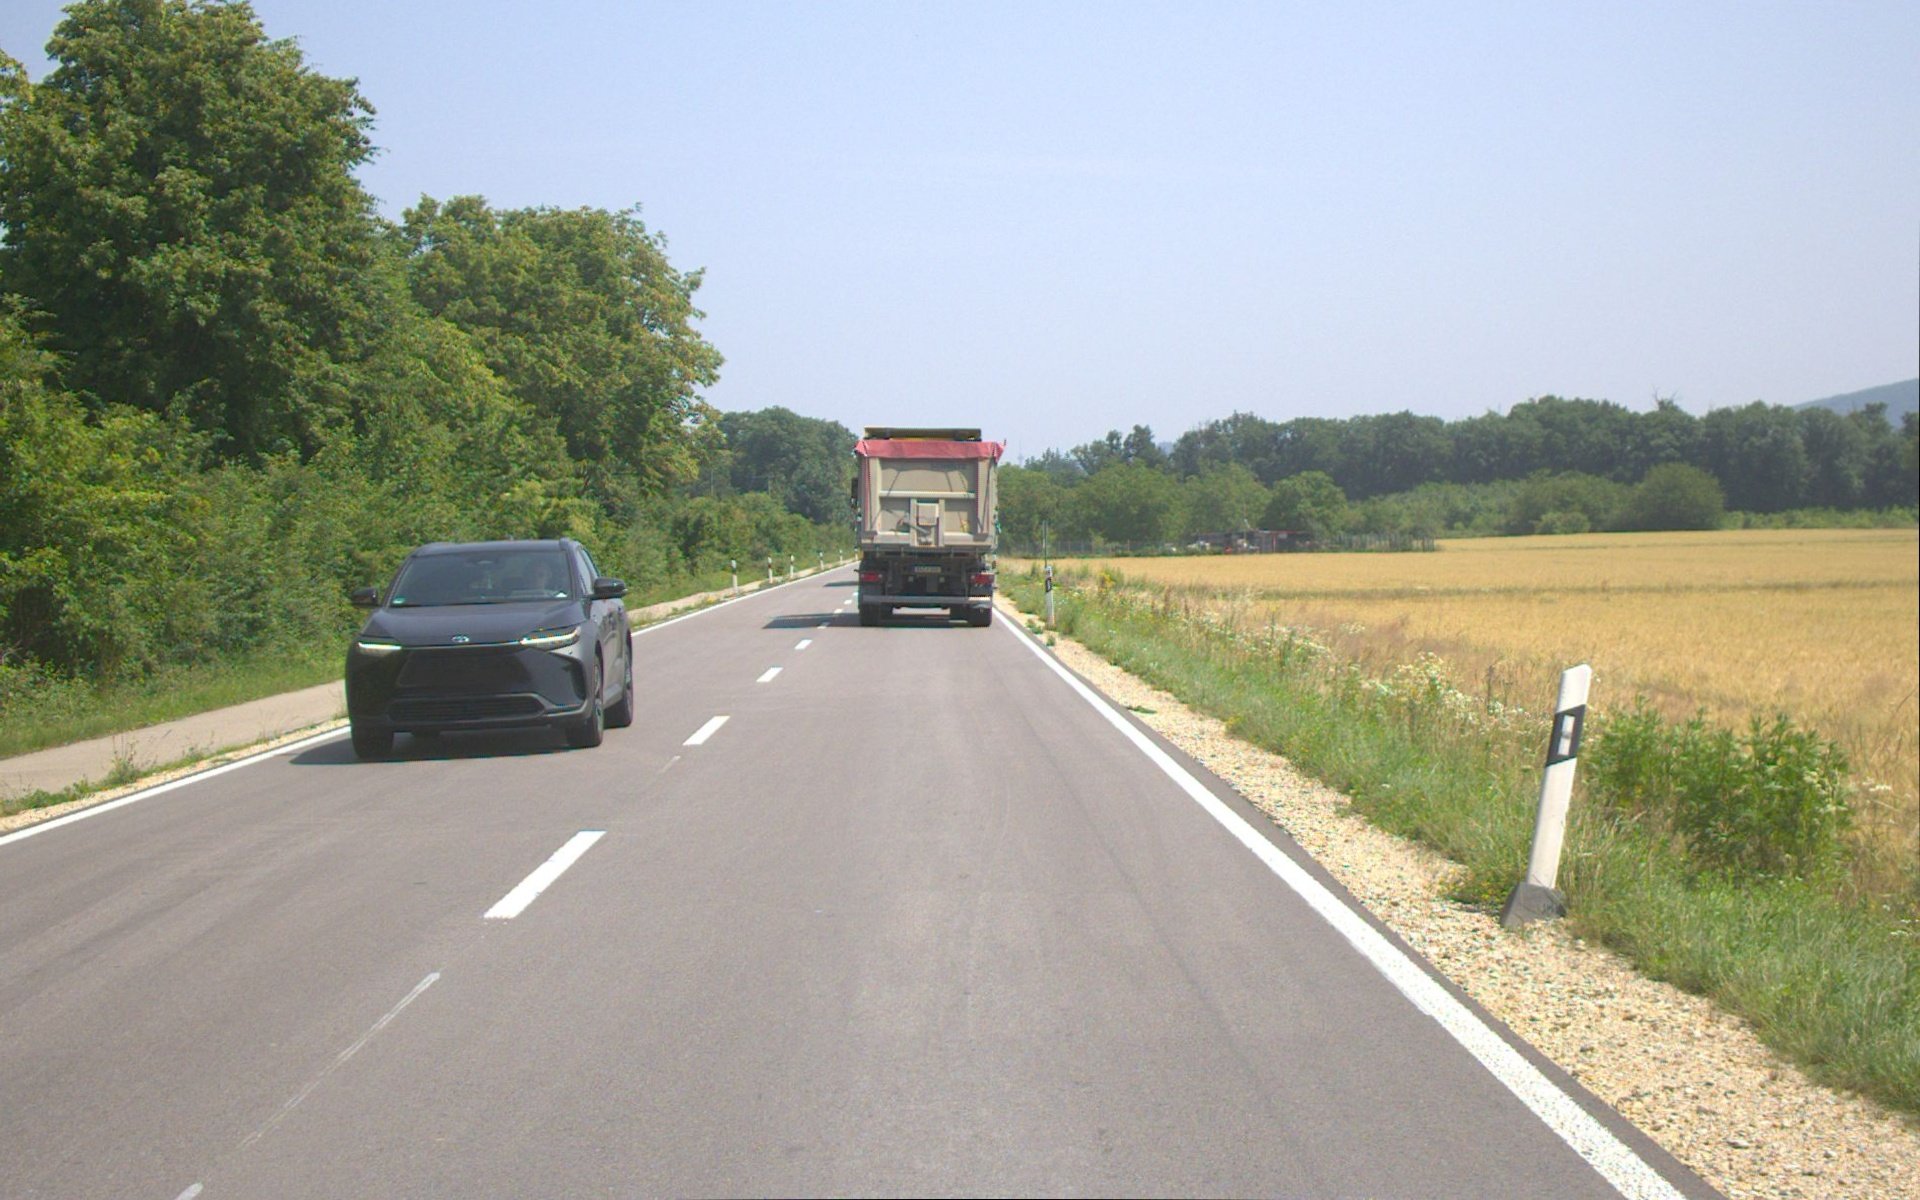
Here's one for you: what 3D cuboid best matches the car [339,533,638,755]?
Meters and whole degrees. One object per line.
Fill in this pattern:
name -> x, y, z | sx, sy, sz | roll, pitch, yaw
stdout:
car -> -3.648, 0.278, 27.333 | 1.792, 1.568, 4.479 | -2, 1, -1

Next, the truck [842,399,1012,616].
truck -> -0.656, -1.730, 68.135 | 3.009, 3.861, 12.210 | 1, 1, -1
